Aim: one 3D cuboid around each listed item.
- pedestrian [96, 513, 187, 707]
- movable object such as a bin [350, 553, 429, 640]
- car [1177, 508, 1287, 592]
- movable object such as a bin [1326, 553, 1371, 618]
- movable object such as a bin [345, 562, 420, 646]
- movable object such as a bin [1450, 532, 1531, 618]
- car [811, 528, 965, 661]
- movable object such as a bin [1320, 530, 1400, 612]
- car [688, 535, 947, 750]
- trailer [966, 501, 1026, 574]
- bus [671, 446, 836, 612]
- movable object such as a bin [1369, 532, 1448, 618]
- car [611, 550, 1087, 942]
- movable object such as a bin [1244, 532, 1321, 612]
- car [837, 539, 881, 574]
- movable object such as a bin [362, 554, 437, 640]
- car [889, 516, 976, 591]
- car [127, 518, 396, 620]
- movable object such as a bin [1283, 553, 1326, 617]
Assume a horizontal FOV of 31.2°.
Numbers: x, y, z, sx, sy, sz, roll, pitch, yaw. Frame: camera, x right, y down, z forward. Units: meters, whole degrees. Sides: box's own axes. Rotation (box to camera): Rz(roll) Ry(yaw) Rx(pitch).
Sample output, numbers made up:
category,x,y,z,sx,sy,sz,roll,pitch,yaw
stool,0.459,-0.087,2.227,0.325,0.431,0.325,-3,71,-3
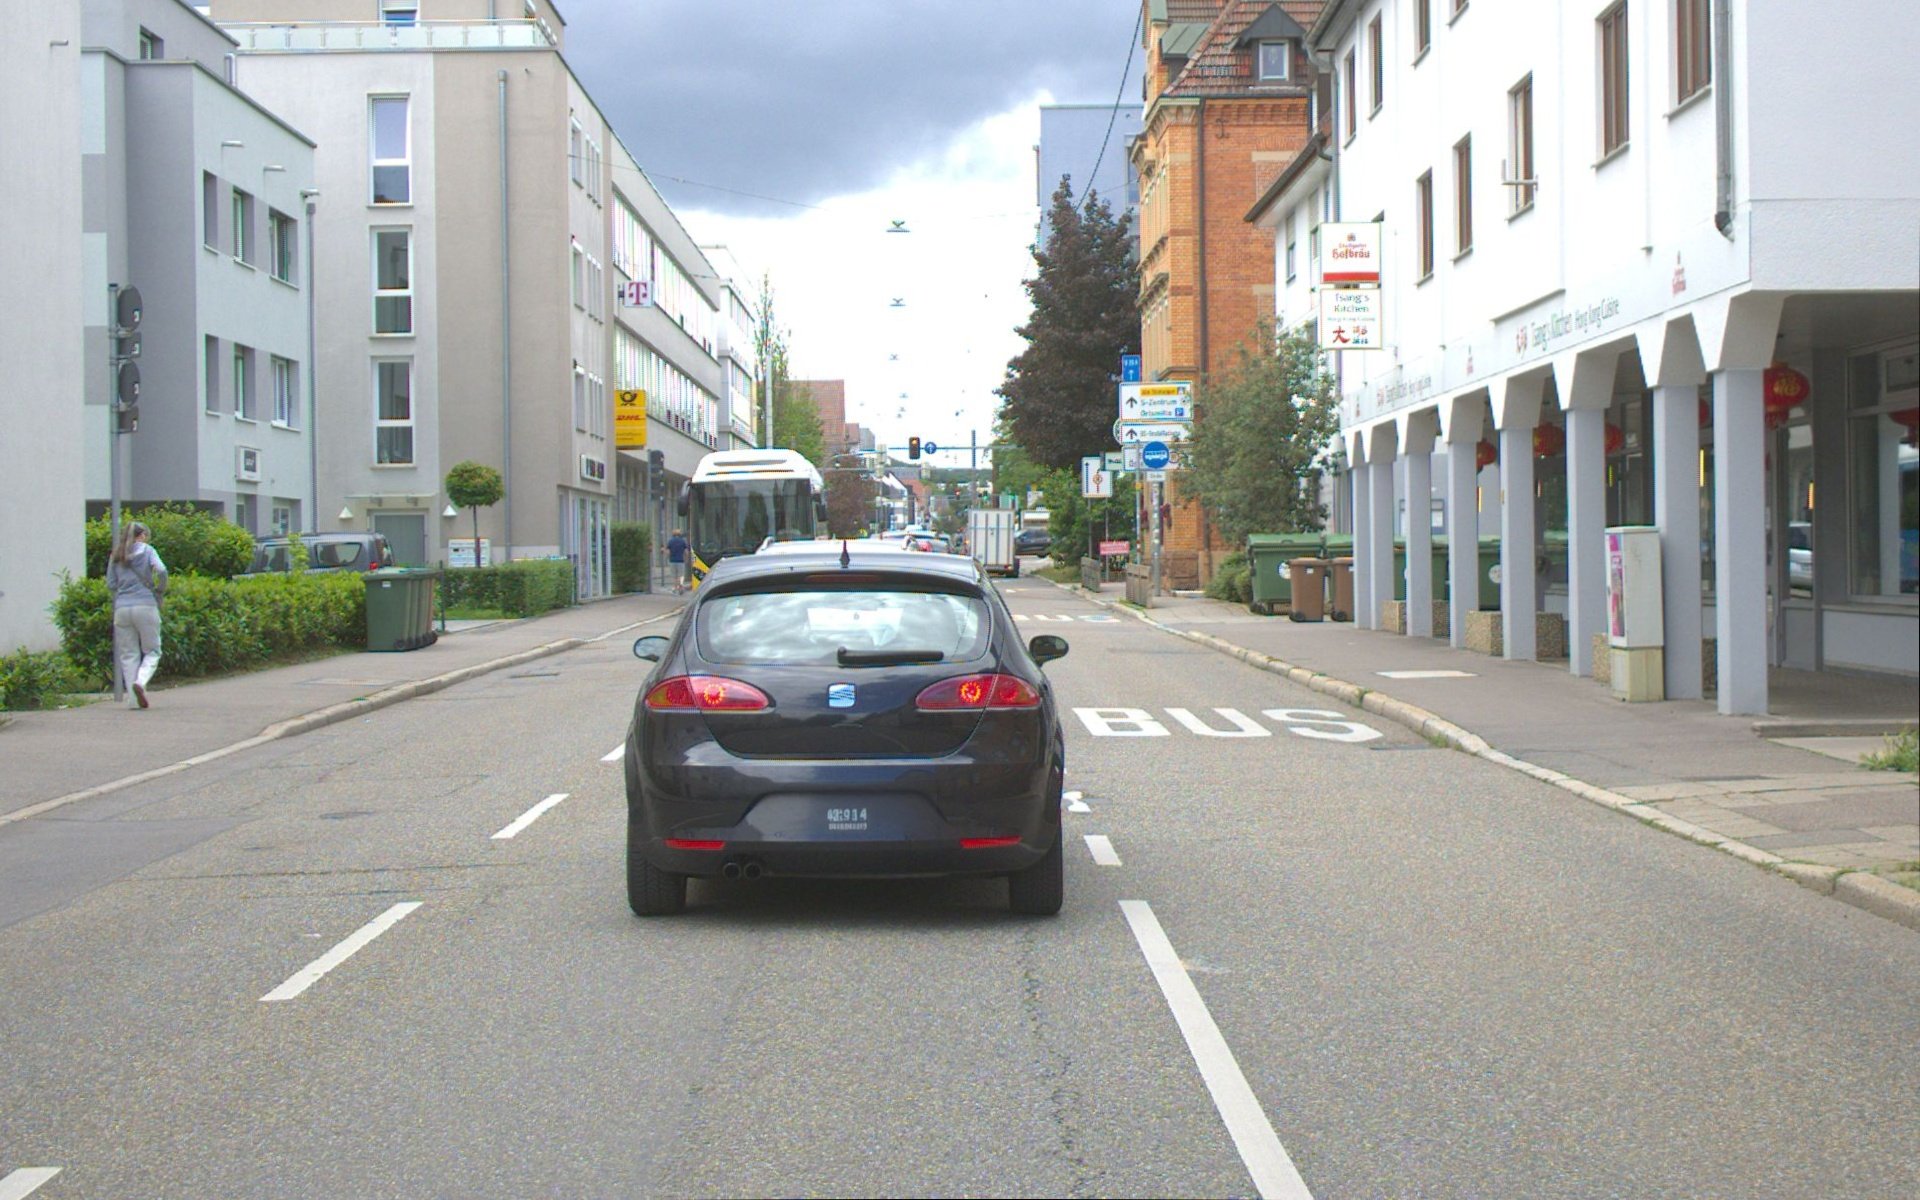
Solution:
category,x,y,z,sx,sy,sz,roll,pitch,yaw
pedestrian,-6.997,0.081,29.401,0.638,1.637,0.520,0,1,0
movable object such as a bin,-7.599,-0.052,45.833,0.956,1.147,0.840,0,1,-5
car,5.341,-0.999,67.870,1.803,1.596,3.738,1,1,-1
movable object such as a bin,6.493,-0.251,57.511,0.698,1.075,0.971,0,1,4
movable object such as a bin,-7.546,0.047,44.962,0.894,1.085,0.793,0,1,-5
movable object such as a bin,8.808,-0.423,57.136,1.209,1.412,1.259,0,1,4
car,-0.878,-0.103,42.171,1.803,1.547,3.738,0,1,-1
movable object such as a bin,7.119,-0.519,61.218,1.267,1.430,1.307,0,1,0
car,-1.031,0.262,25.909,1.803,1.487,3.738,0,1,-1
trailer,1.298,-2.299,125.660,1.993,2.598,5.350,0,1,-1
bus,-4.374,-1.567,75.223,2.942,3.262,12.009,-2,1,-1
movable object such as a bin,7.444,-0.418,57.156,1.209,1.412,1.259,0,1,4
car,-0.426,0.517,14.721,1.765,1.428,3.828,0,1,0
movable object such as a bin,5.764,-0.503,61.457,1.267,1.412,1.162,0,1,0
car,-4.601,-2.004,157.681,1.878,1.446,4.214,-3,1,-1
movable object such as a bin,-7.604,-0.046,46.669,0.948,1.147,0.749,0,1,-5
car,-0.602,-1.002,72.990,1.803,1.547,3.738,0,1,-1
car,-11.843,-0.526,58.405,4.163,1.662,1.724,-1,1,3
movable object such as a bin,5.763,-0.255,57.538,0.683,1.063,0.971,0,1,4
